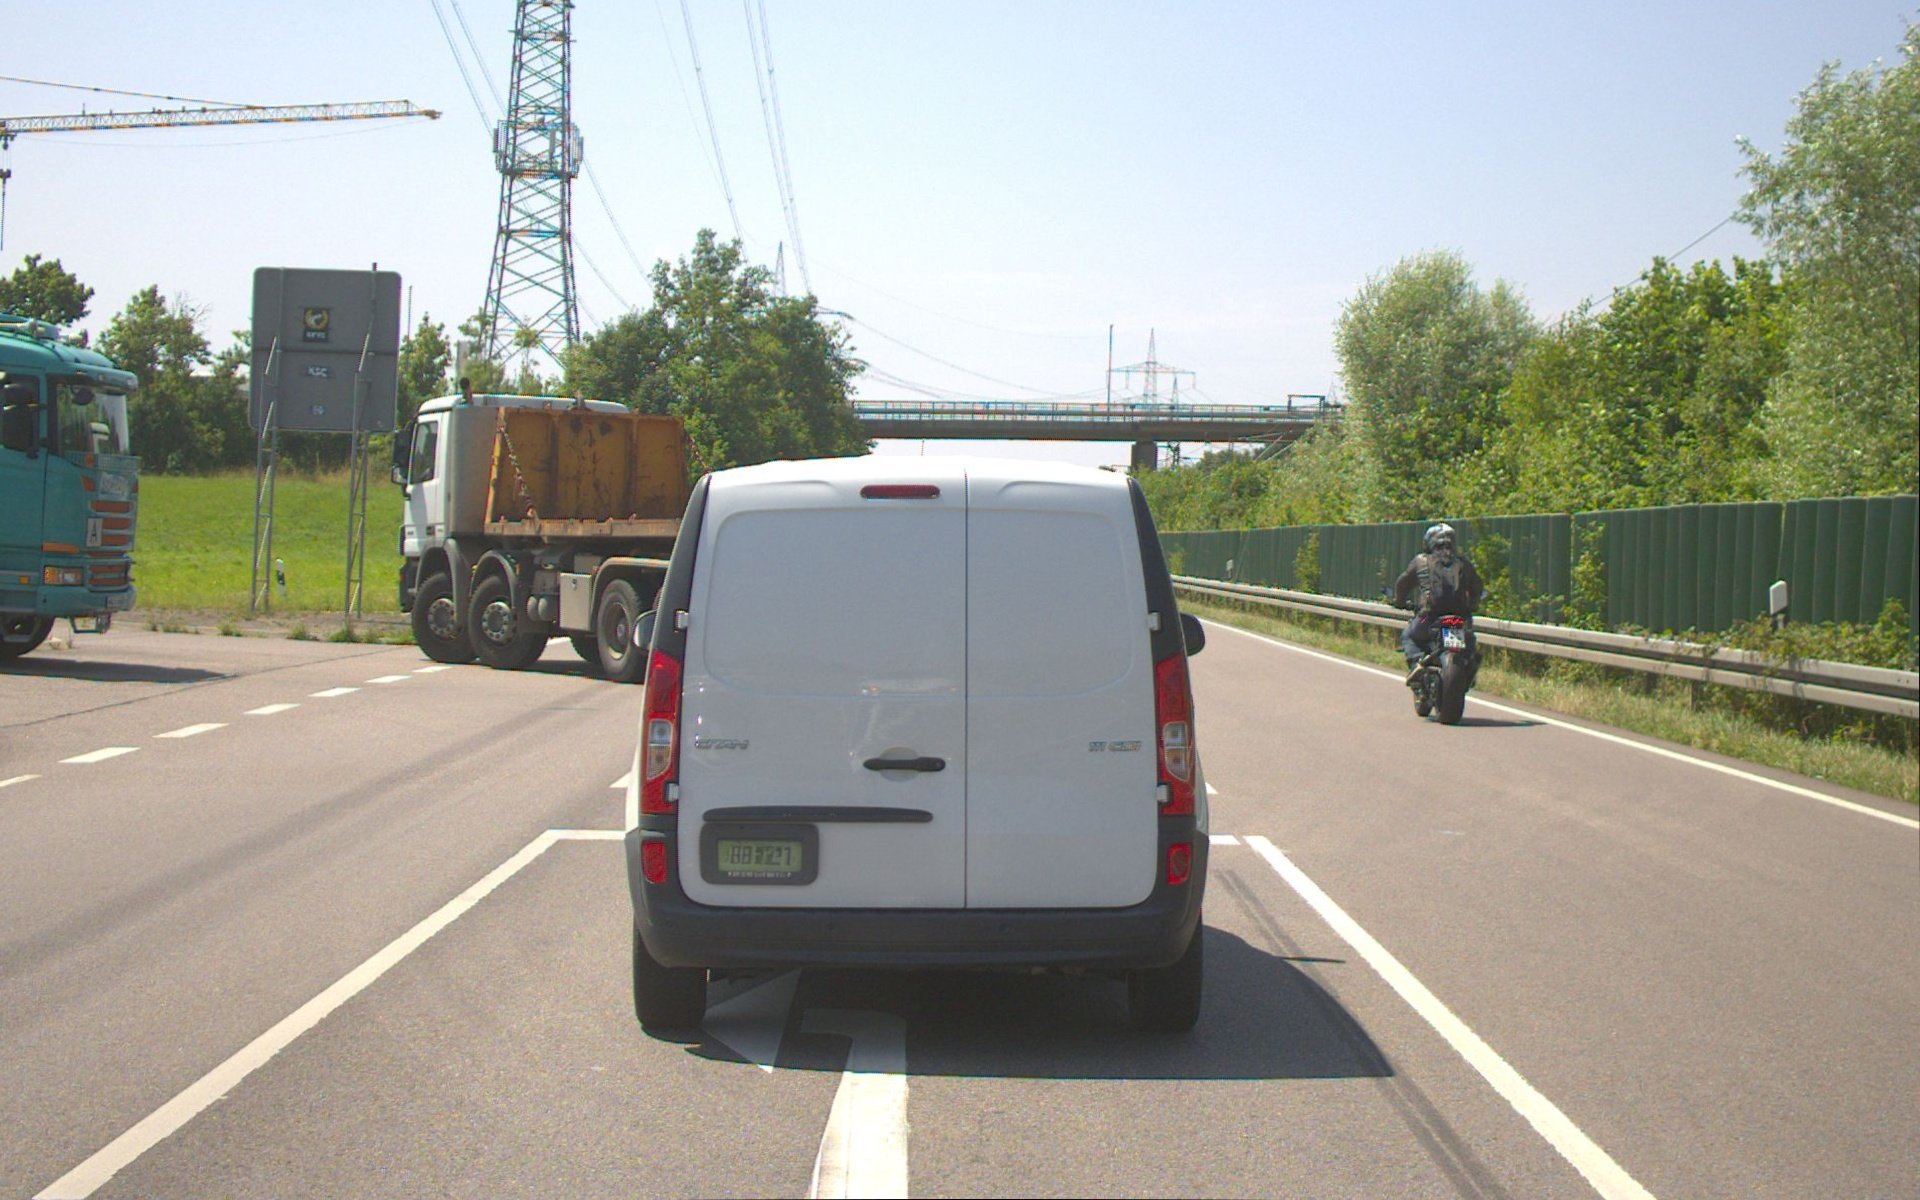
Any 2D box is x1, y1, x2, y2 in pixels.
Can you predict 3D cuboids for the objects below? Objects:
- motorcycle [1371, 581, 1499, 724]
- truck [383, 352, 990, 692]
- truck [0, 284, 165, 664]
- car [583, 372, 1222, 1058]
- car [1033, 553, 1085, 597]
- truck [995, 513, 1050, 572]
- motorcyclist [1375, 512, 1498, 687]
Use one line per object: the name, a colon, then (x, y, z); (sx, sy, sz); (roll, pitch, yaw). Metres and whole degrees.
motorcycle: (4.104, 0.434, 29.825); (0.790, 1.153, 1.901); (1, 1, -1)
truck: (-3.344, -0.922, 38.087); (2.820, 3.277, 9.702); (0, 2, -30)
truck: (-12.566, -1.478, 35.558); (7.905, 3.721, 2.498); (3, 1, 3)
car: (-0.174, 0.298, 11.937); (1.827, 1.964, 4.000); (1, 1, 0)
car: (3.699, -0.945, 129.062); (1.848, 1.568, 4.000); (1, 1, 0)
truck: (2.927, -2.733, 162.719); (2.374, 2.680, 8.010); (2, 1, 0)
motorcyclist: (4.095, -0.013, 29.614); (0.889, 1.471, 1.002); (1, 1, -1)
